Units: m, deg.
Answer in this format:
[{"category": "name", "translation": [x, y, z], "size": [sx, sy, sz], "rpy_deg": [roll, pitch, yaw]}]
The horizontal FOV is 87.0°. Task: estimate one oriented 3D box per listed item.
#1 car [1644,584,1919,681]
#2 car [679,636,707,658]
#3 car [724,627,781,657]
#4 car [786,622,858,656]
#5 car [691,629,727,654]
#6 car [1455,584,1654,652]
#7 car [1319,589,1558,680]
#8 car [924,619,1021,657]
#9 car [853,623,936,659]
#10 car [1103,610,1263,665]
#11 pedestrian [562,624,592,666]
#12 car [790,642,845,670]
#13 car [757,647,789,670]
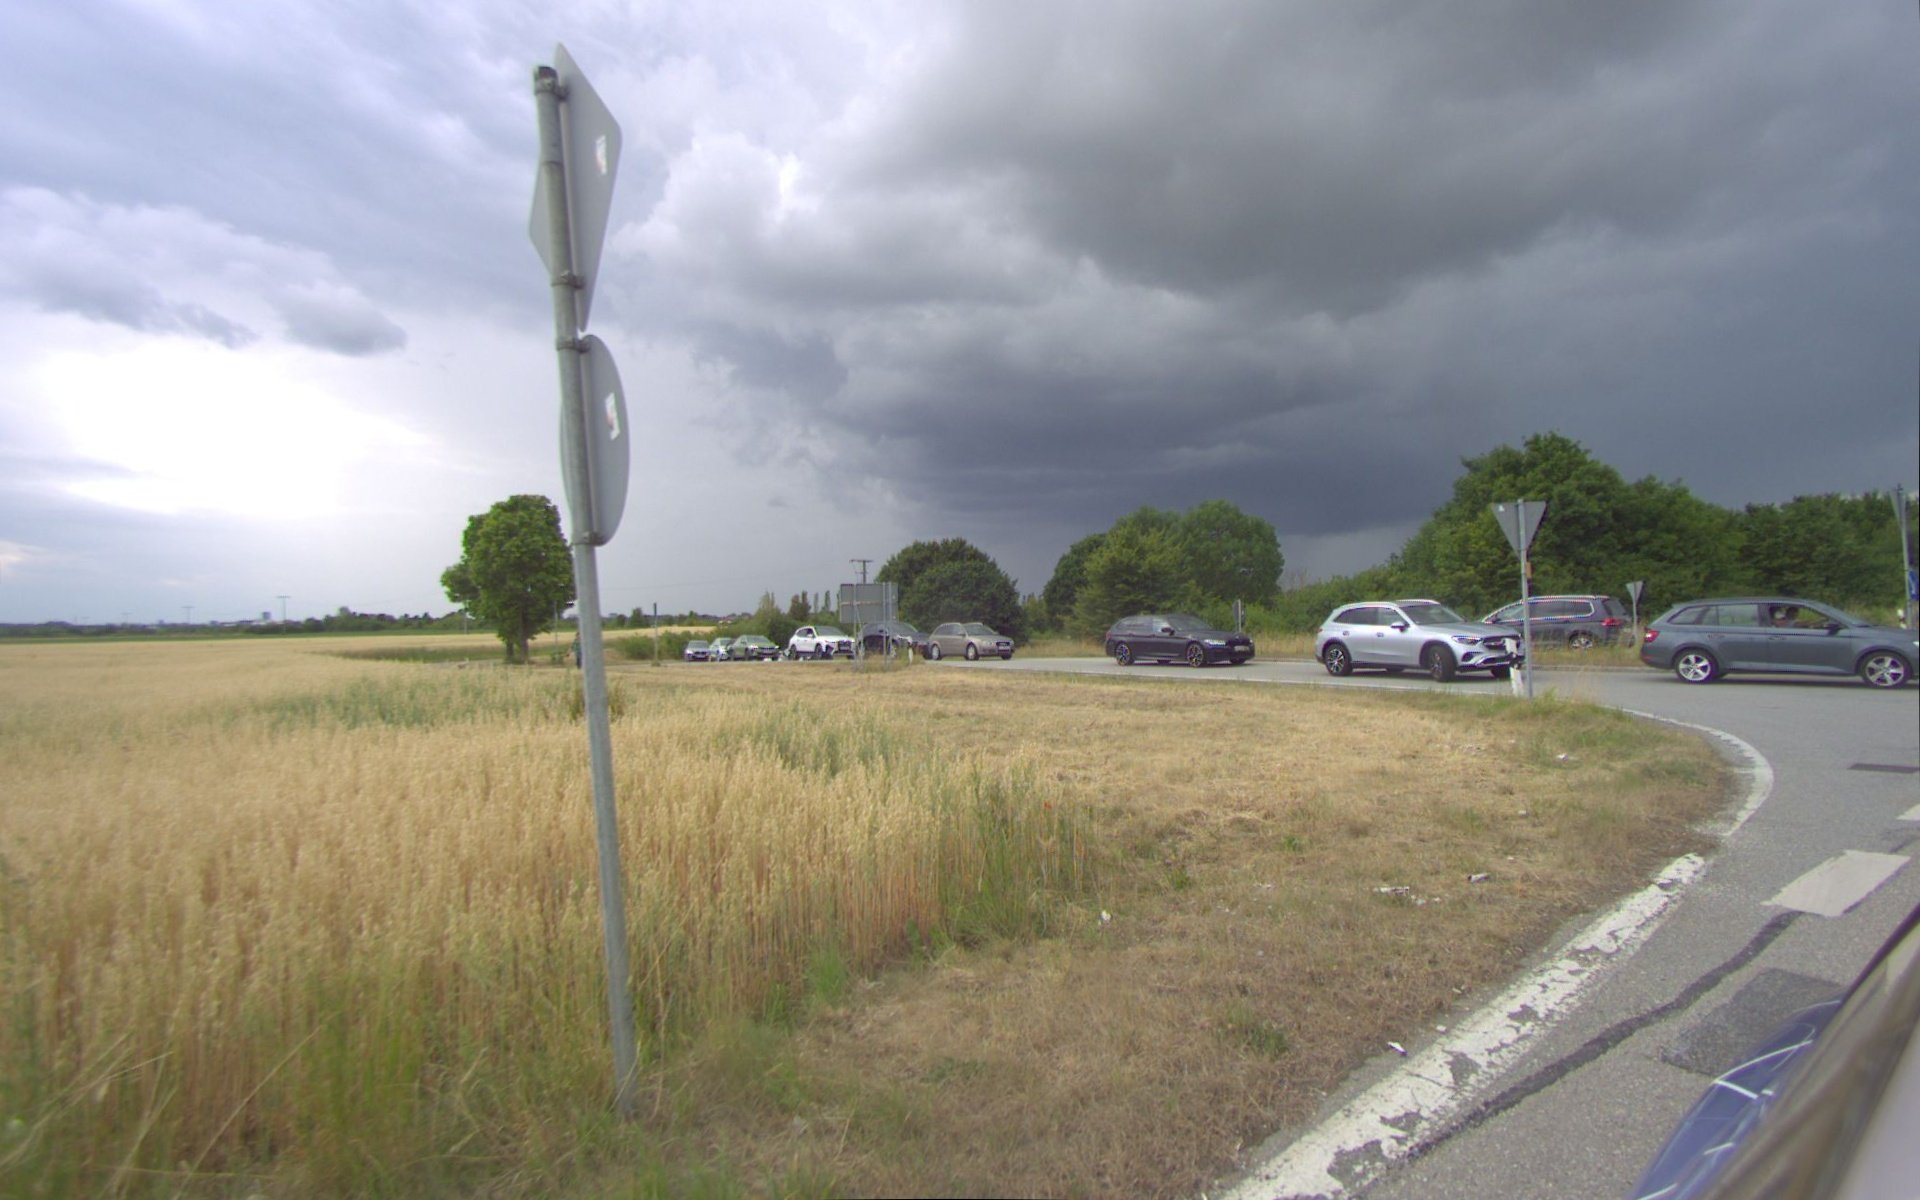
[{"category": "car", "translation": [14.230, 0.527, 17.113], "size": [1.690, 1.466, 4.106], "rpy_deg": [-1, -1, -43]}, {"category": "car", "translation": [-18.504, 3.206, 70.015], "size": [1.541, 1.363, 3.505], "rpy_deg": [0, 0, -21]}, {"category": "car", "translation": [-11.695, 2.340, 56.777], "size": [1.689, 1.513, 4.215], "rpy_deg": [-3, 0, -32]}, {"category": "car", "translation": [-6.817, 1.884, 49.629], "size": [1.689, 1.513, 4.640], "rpy_deg": [-3, 0, -32]}, {"category": "car", "translation": [-15.594, 2.547, 62.729], "size": [1.541, 1.363, 3.504], "rpy_deg": [0, 0, -25]}, {"category": "car", "translation": [15.847, 0.445, 27.161], "size": [1.722, 1.679, 4.287], "rpy_deg": [0, 0, -38]}, {"category": "car", "translation": [9.834, 0.660, 21.249], "size": [1.956, 1.606, 4.402], "rpy_deg": [-3, 0, -19]}, {"category": "car", "translation": [0.420, 1.435, 38.928], "size": [1.688, 1.370, 4.215], "rpy_deg": [0, -1, -32]}, {"category": "car", "translation": [-2.873, 1.742, 43.608], "size": [1.689, 1.370, 4.215], "rpy_deg": [-3, 0, -32]}, {"category": "car", "translation": [6.250, 1.039, 28.957], "size": [1.688, 1.370, 4.698], "rpy_deg": [-3, 0, -30]}, {"category": "pedestrian", "translation": [-15.382, 1.806, 40.627], "size": [0.940, 1.632, 0.762], "rpy_deg": [-2, -2, 40]}, {"category": "car", "translation": [-8.484, 3.275, 60.084], "size": [1.736, 1.470, 4.396], "rpy_deg": [0, -1, -30]}, {"category": "car", "translation": [-15.852, 4.931, 85.986], "size": [1.962, 1.687, 4.423], "rpy_deg": [-1, -1, 0]}]
